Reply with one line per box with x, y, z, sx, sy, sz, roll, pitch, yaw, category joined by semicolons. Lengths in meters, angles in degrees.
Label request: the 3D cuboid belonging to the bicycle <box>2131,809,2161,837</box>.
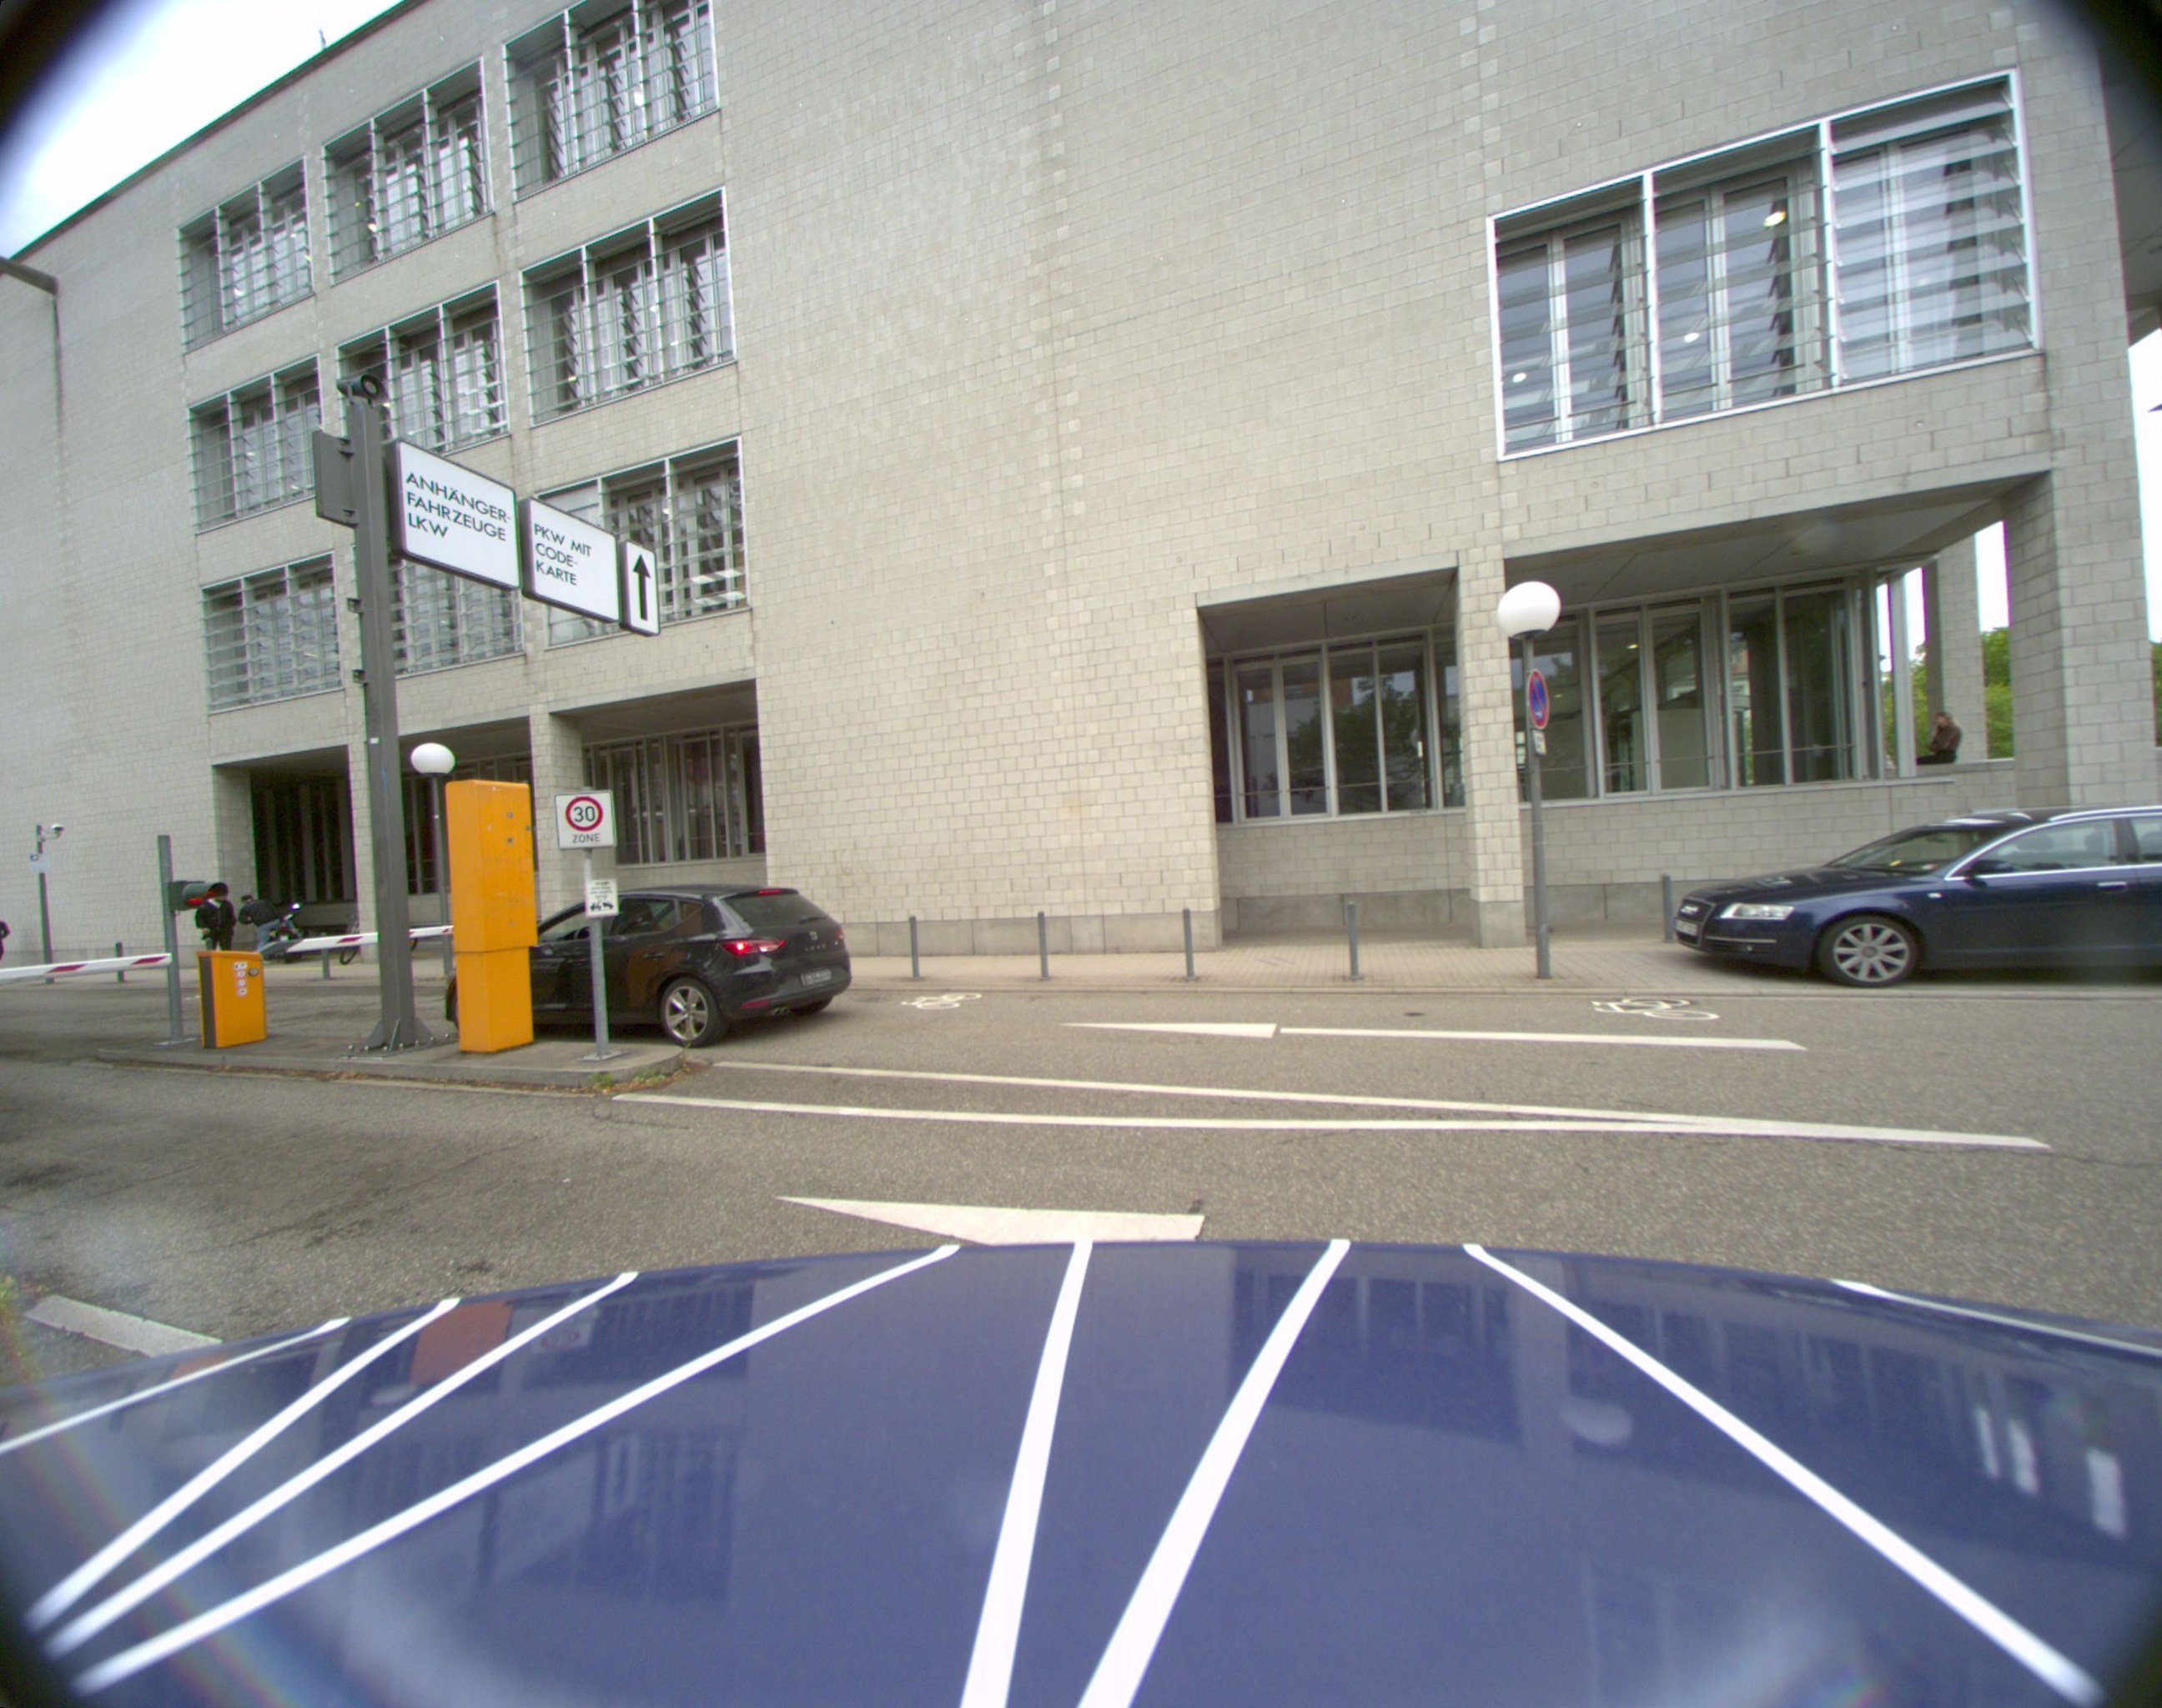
46.531;-1.317;31.546;3.386;1.163;1.057;-1;0;24;bicycle

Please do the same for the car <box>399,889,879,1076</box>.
-4.340;1.171;7.584;4.121;1.410;1.790;-3;0;18;car

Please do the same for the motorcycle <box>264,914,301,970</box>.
-18.798;2.037;17.884;2.210;1.141;0.569;-1;0;43;motorcycle

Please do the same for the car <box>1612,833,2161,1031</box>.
8.119;0.651;6.961;4.912;1.443;2.002;-3;0;19;car

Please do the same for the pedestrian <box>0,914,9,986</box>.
-25.816;2.278;17.768;0.488;1.704;0.699;-3;0;14;pedestrian

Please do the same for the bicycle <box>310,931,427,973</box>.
-15.781;2.147;16.895;0.492;0.694;1.905;-1;0;15;bicycle

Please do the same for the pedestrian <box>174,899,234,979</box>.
-19.477;1.884;16.883;0.573;1.705;0.614;-3;1;18;pedestrian

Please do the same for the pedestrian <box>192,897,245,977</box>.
-19.226;1.828;16.939;0.690;1.689;0.589;0;0;25;pedestrian

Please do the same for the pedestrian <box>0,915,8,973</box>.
-28.625;2.378;19.789;0.471;1.518;0.647;-3;0;21;pedestrian

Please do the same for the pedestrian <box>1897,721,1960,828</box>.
13.923;-1.273;12.498;0.629;1.649;0.809;0;0;44;pedestrian
